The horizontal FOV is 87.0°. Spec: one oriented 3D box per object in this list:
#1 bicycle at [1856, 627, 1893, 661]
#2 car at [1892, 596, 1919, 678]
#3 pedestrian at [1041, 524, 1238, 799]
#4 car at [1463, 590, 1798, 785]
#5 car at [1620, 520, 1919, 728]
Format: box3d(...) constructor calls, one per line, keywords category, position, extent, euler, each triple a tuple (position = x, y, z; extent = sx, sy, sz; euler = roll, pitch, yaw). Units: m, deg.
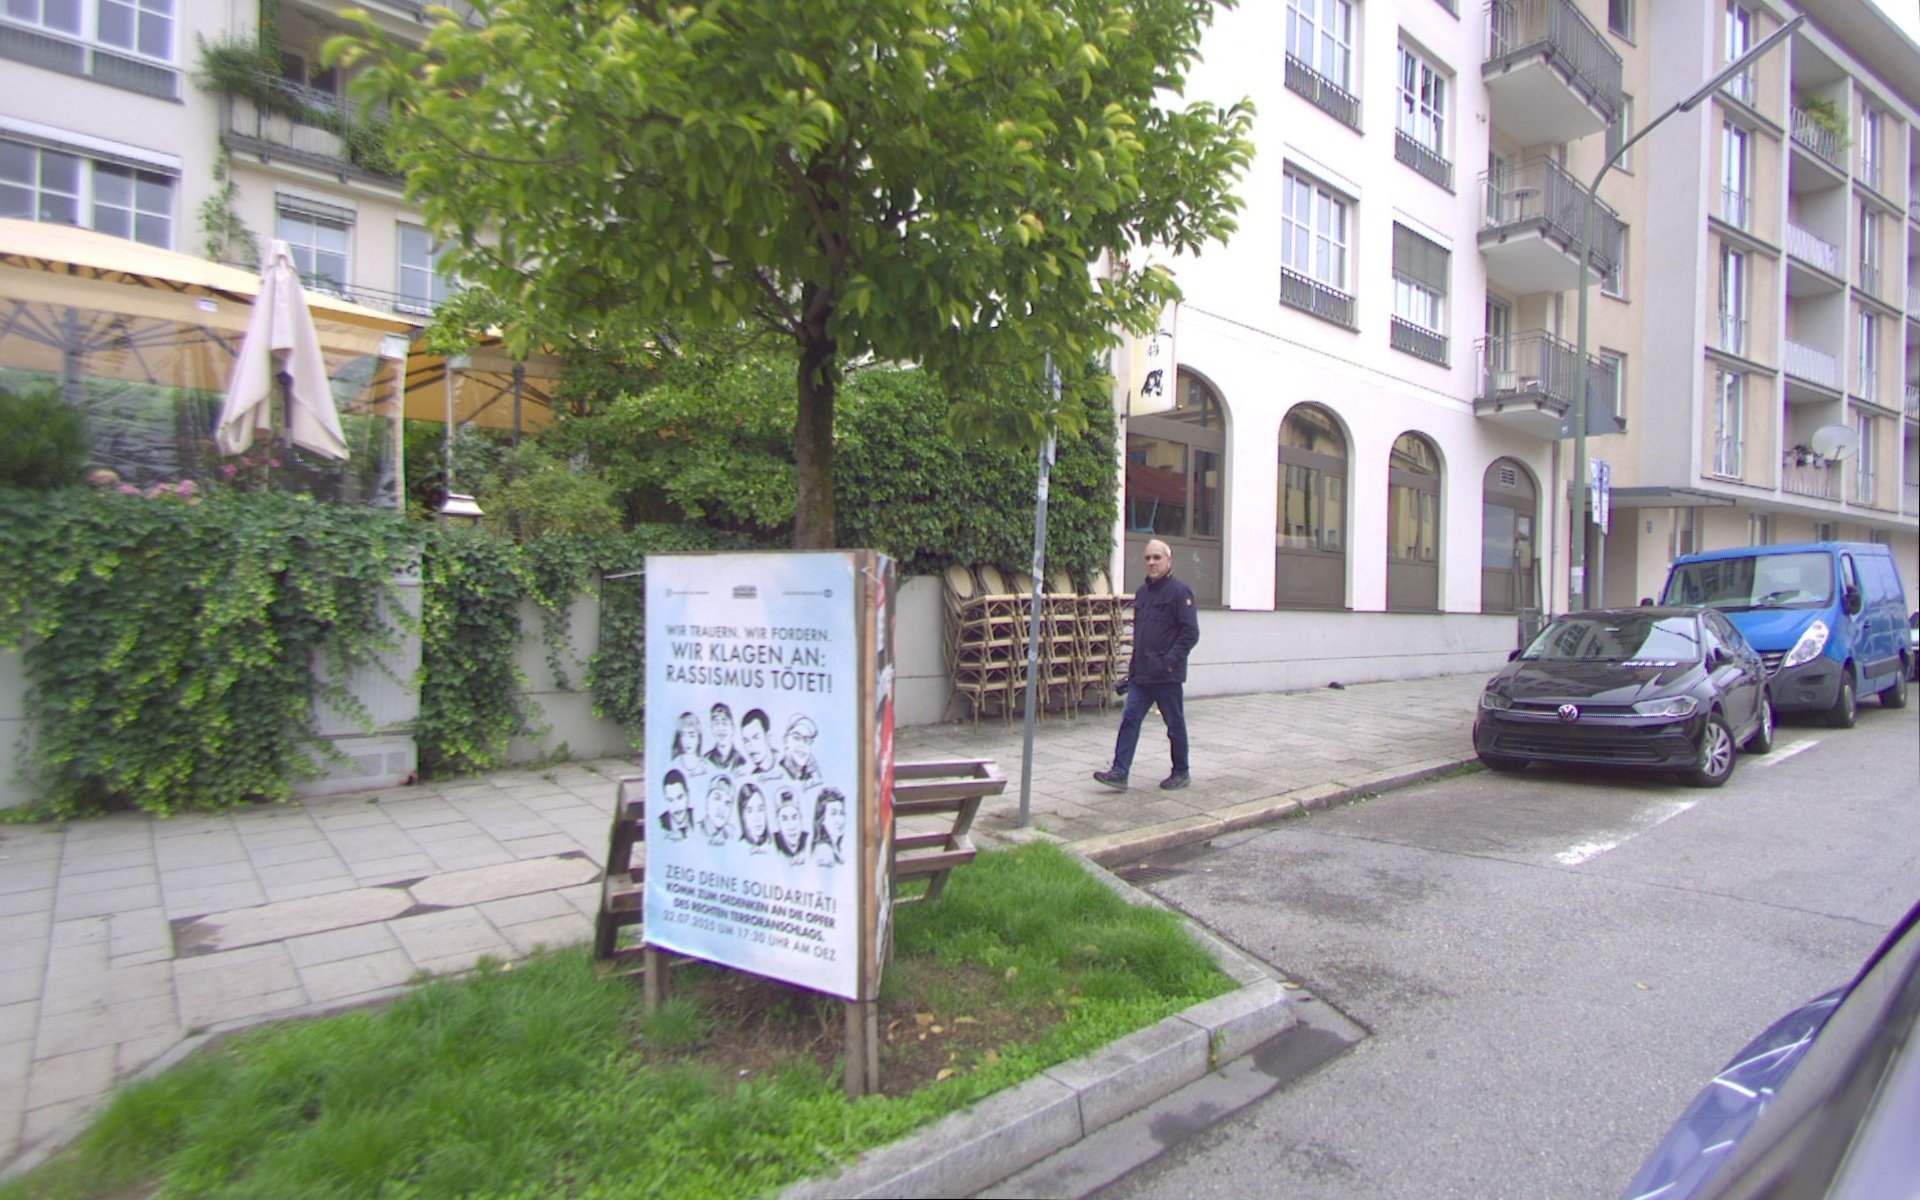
box3d(category="bicycle", position=(25.327, 1.211, 28.029), extent=(1.364, 0.916, 0.379), euler=(1, 0, -31))
box3d(category="car", position=(20.322, 0.722, 20.148), extent=(4.562, 1.553, 1.789), euler=(1, -3, -37))
box3d(category="pedestrian", position=(1.278, 0.394, 7.348), extent=(0.937, 1.822, 0.937), euler=(2, 3, -27))
box3d(category="car", position=(6.376, 0.695, 9.412), extent=(4.234, 1.407, 1.677), euler=(1, -3, -44))
box3d(category="car", position=(10.998, 0.262, 13.438), extent=(5.149, 2.262, 2.083), euler=(-1, -2, -38))
